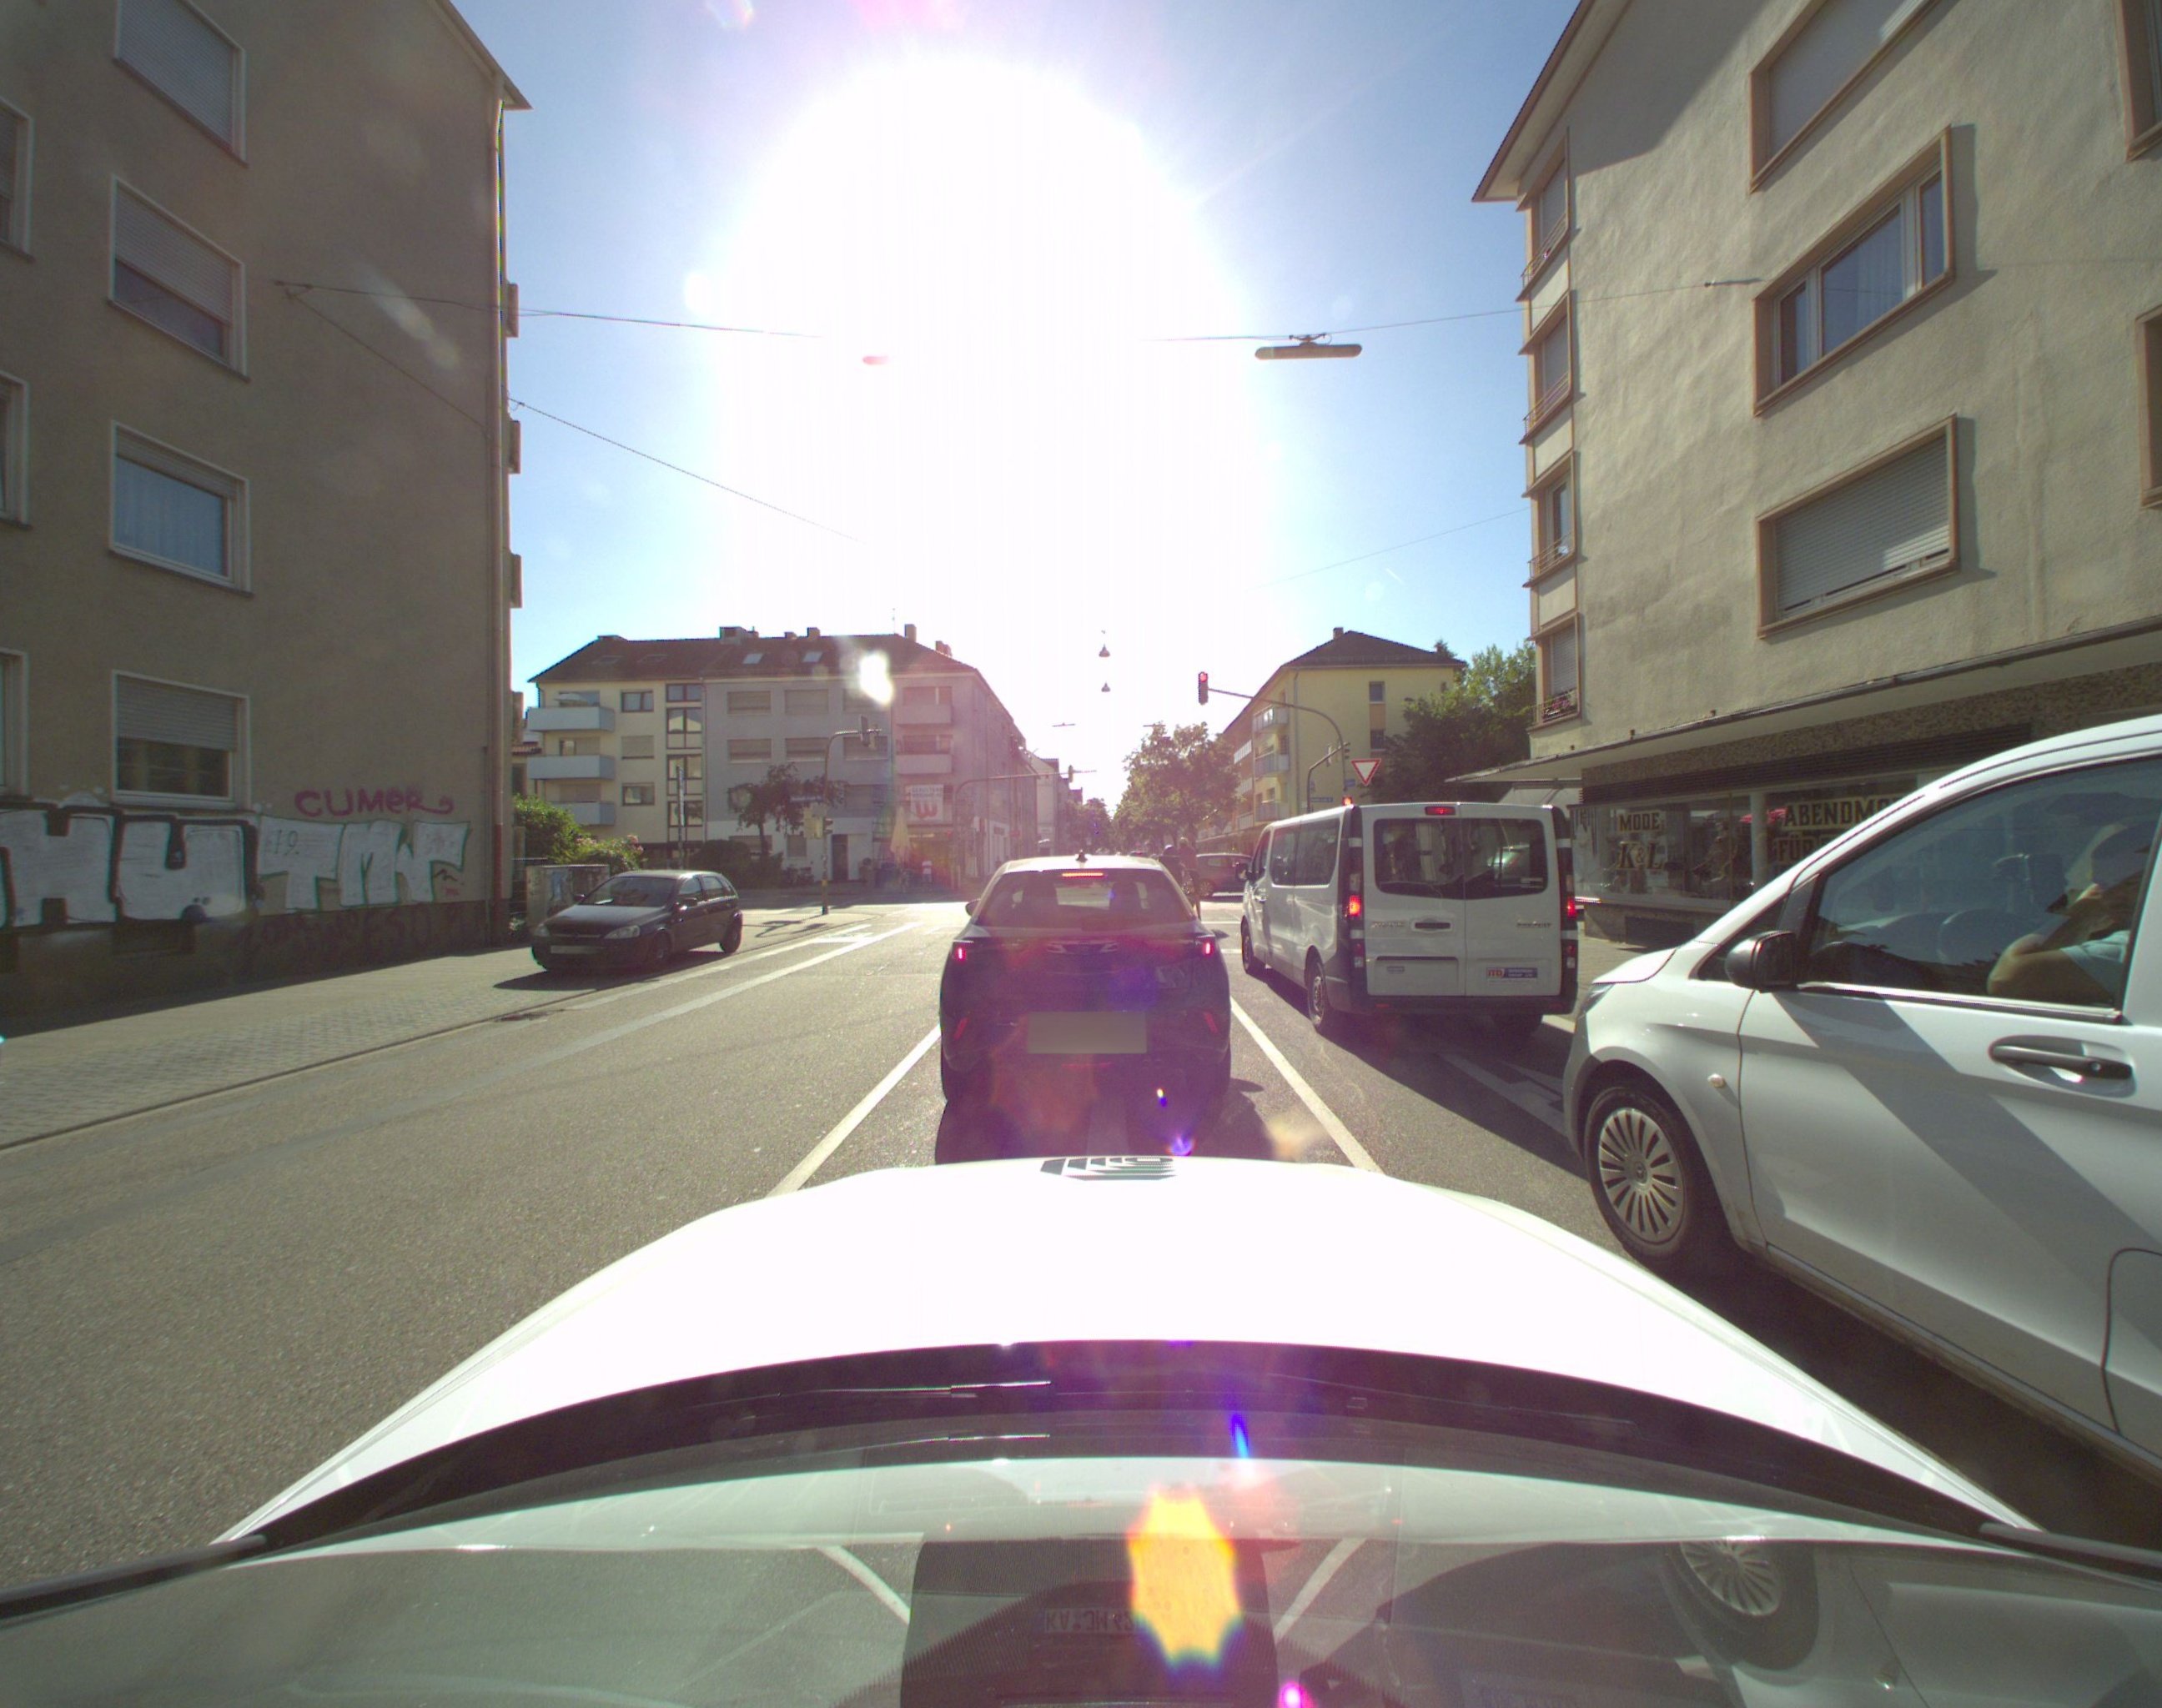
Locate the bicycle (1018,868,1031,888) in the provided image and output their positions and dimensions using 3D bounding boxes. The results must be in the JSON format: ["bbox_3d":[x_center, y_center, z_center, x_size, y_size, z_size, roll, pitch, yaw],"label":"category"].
[{"bbox_3d":[-3.044,1.279,44.091,0.520,0.992,2.339,-1,0,0],"label":"bicycle"}]

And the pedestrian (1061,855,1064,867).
[{"bbox_3d":[-2.472,0.937,107.918,0.400,1.675,0.418,-1,0,1],"label":"pedestrian"}]

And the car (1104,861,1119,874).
[{"bbox_3d":[4.171,1.788,111.210,1.817,1.728,4.004,-1,0,3],"label":"car"}]

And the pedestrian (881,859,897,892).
[{"bbox_3d":[-8.927,0.992,37.814,0.582,1.521,0.649,-1,0,-1],"label":"pedestrian"}]

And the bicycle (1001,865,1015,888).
[{"bbox_3d":[-3.937,1.212,44.142,0.520,1.147,2.283,-1,0,0],"label":"bicycle"}]

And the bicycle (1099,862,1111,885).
[{"bbox_3d":[1.282,1.038,43.796,0.520,1.147,2.170,-1,0,0],"label":"bicycle"}]

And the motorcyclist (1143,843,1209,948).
[{"bbox_3d":[1.426,0.605,12.438,0.861,1.502,1.160,-1,0,1],"label":"motorcyclist"}]

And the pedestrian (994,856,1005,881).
[{"bbox_3d":[-4.929,0.881,49.231,0.615,1.521,0.724,-1,0,-1],"label":"pedestrian"}]

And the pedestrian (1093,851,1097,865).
[{"bbox_3d":[1.708,0.517,97.210,0.486,1.690,0.588,-1,0,1],"label":"pedestrian"}]

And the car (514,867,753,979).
[{"bbox_3d":[-6.778,0.963,12.820,1.610,1.425,3.711,1,0,1],"label":"car"}]

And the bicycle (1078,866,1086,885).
[{"bbox_3d":[0.048,1.148,44.093,0.442,0.992,2.068,-1,0,0],"label":"bicycle"}]

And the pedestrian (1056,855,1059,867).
[{"bbox_3d":[-3.124,0.946,108.343,0.400,1.675,0.418,-1,0,1],"label":"pedestrian"}]

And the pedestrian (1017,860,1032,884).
[{"bbox_3d":[-3.042,0.955,43.791,0.704,1.253,0.802,-1,0,0],"label":"pedestrian"}]

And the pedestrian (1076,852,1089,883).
[{"bbox_3d":[0.092,0.717,43.899,0.678,1.606,0.762,-1,0,0],"label":"pedestrian"}]

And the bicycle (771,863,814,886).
[{"bbox_3d":[-15.346,1.063,43.322,2.103,1.172,0.735,-1,0,-22],"label":"bicycle"}]

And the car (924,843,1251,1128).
[{"bbox_3d":[0.040,0.719,6.444,1.765,1.530,3.999,-1,0,0],"label":"car"}]

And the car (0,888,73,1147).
[{"bbox_3d":[-7.119,0.923,2.581,1.711,1.465,4.817,2,0,1],"label":"car"}]

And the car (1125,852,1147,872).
[{"bbox_3d":[4.821,0.684,71.744,1.894,1.728,4.076,-1,0,3],"label":"car"}]

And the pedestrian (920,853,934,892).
[{"bbox_3d":[-7.268,0.864,38.396,0.560,1.775,0.582,-1,0,-7],"label":"pedestrian"}]

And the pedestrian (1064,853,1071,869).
[{"bbox_3d":[-1.416,0.739,83.966,0.567,1.690,0.589,-1,0,6],"label":"pedestrian"}]

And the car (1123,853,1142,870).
[{"bbox_3d":[5.413,0.805,85.480,1.894,1.728,4.003,-1,0,2],"label":"car"}]

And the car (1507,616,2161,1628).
[{"bbox_3d":[2.909,0.486,1.241,1.831,1.869,4.994,-1,0,-1],"label":"car"}]

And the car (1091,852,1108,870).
[{"bbox_3d":[2.212,0.765,95.548,1.848,2.013,3.882,-1,0,2],"label":"car"}]

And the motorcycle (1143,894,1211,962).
[{"bbox_3d":[1.401,1.072,12.222,0.822,0.845,1.885,-1,0,1],"label":"motorcycle"}]

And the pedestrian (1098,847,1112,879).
[{"bbox_3d":[1.294,0.478,43.700,0.704,1.701,0.802,-1,0,0],"label":"pedestrian"}]

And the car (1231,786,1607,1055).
[{"bbox_3d":[2.968,0.496,8.517,1.986,1.979,4.896,1,0,1],"label":"car"}]

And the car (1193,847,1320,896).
[{"bbox_3d":[5.958,0.585,27.955,3.972,1.486,1.834,-2,0,1],"label":"car"}]

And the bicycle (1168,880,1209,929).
[{"bbox_3d":[2.297,1.059,17.680,0.575,0.904,2.301,-1,0,0],"label":"bicycle"}]

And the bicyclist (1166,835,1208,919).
[{"bbox_3d":[2.267,0.479,17.578,0.687,1.712,1.414,-1,0,0],"label":"bicyclist"}]

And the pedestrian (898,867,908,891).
[{"bbox_3d":[-8.240,1.146,37.779,0.354,1.092,0.461,-1,0,-1],"label":"pedestrian"}]

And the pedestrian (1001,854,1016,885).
[{"bbox_3d":[-3.896,0.822,43.930,0.704,1.678,0.802,-1,0,0],"label":"pedestrian"}]
